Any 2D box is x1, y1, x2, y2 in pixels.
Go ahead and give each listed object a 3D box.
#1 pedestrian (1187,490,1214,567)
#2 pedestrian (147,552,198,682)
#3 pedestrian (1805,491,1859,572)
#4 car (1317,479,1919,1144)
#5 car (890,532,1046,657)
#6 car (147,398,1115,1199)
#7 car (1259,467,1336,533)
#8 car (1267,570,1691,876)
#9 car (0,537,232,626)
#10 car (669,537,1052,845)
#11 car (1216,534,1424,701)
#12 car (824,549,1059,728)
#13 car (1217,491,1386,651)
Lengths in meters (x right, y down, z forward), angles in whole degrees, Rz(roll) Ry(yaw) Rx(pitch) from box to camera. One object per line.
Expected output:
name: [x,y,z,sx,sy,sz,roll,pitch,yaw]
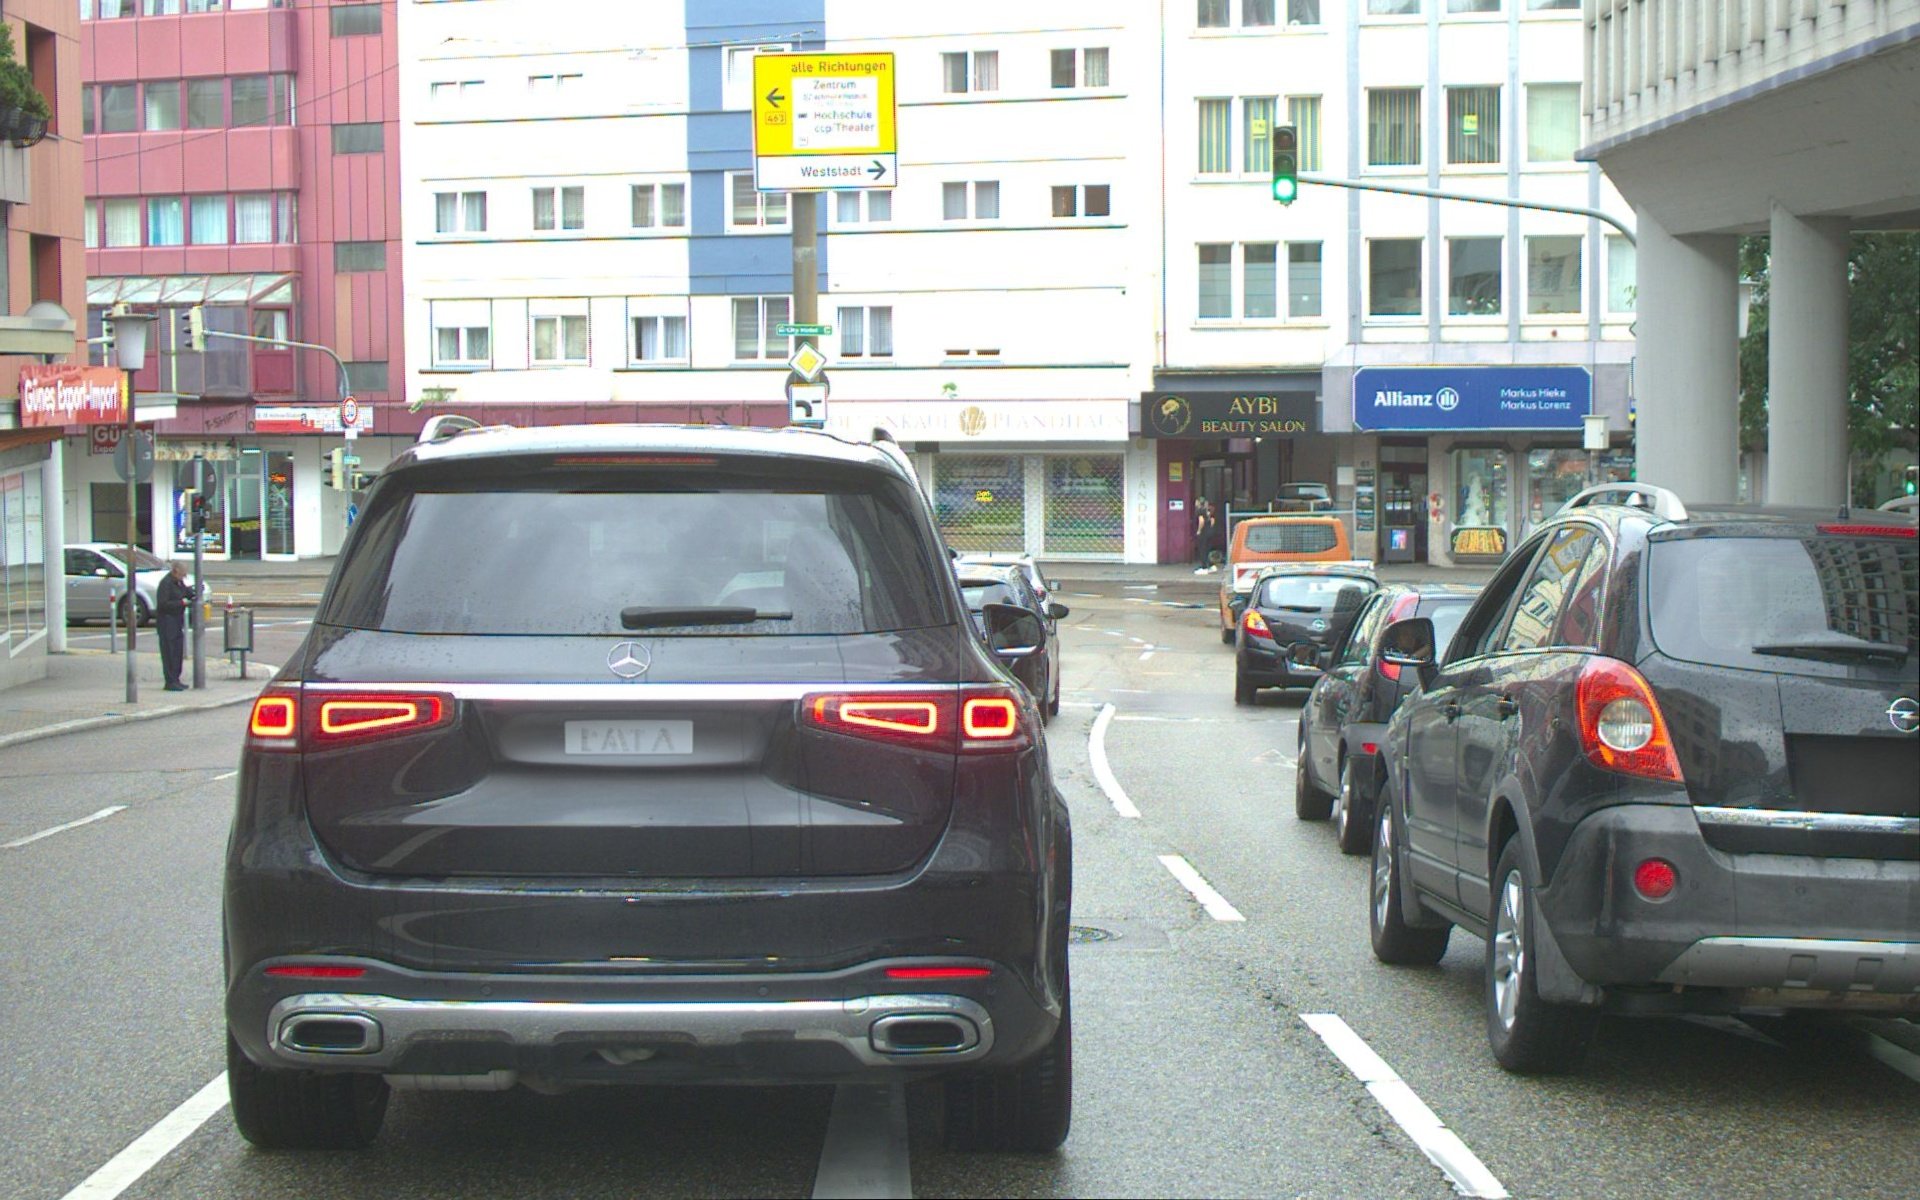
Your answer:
pedestrian: [5.473,-1.630,78.321,0.564,1.683,0.756,-1,7,6]
pedestrian: [-10.390,0.216,45.358,0.554,1.691,0.624,0,1,-4]
pedestrian: [18.936,-1.495,74.654,1.030,1.683,0.830,0,7,8]
car: [2.439,0.529,11.198,1.897,1.689,4.506,3,1,-2]
car: [0.074,-0.052,45.851,1.924,1.510,4.663,2,0,-1]
car: [-0.784,0.436,9.660,2.038,1.793,4.663,1,1,-2]
car: [8.907,-2.628,90.550,1.797,1.664,3.999,-1,1,8]
car: [2.764,0.595,19.134,1.767,1.392,4.000,3,1,1]
car: [-16.239,-0.372,65.808,4.165,1.587,1.740,1,2,15]
car: [-0.571,0.413,19.217,1.873,1.489,4.401,1,1,-2]
car: [3.812,0.167,37.022,1.823,1.653,4.495,1,0,1]
car: [-0.174,0.296,31.566,1.993,1.481,4.237,-1,1,0]
car: [5.015,-0.439,51.193,2.243,2.220,5.428,1,1,3]
